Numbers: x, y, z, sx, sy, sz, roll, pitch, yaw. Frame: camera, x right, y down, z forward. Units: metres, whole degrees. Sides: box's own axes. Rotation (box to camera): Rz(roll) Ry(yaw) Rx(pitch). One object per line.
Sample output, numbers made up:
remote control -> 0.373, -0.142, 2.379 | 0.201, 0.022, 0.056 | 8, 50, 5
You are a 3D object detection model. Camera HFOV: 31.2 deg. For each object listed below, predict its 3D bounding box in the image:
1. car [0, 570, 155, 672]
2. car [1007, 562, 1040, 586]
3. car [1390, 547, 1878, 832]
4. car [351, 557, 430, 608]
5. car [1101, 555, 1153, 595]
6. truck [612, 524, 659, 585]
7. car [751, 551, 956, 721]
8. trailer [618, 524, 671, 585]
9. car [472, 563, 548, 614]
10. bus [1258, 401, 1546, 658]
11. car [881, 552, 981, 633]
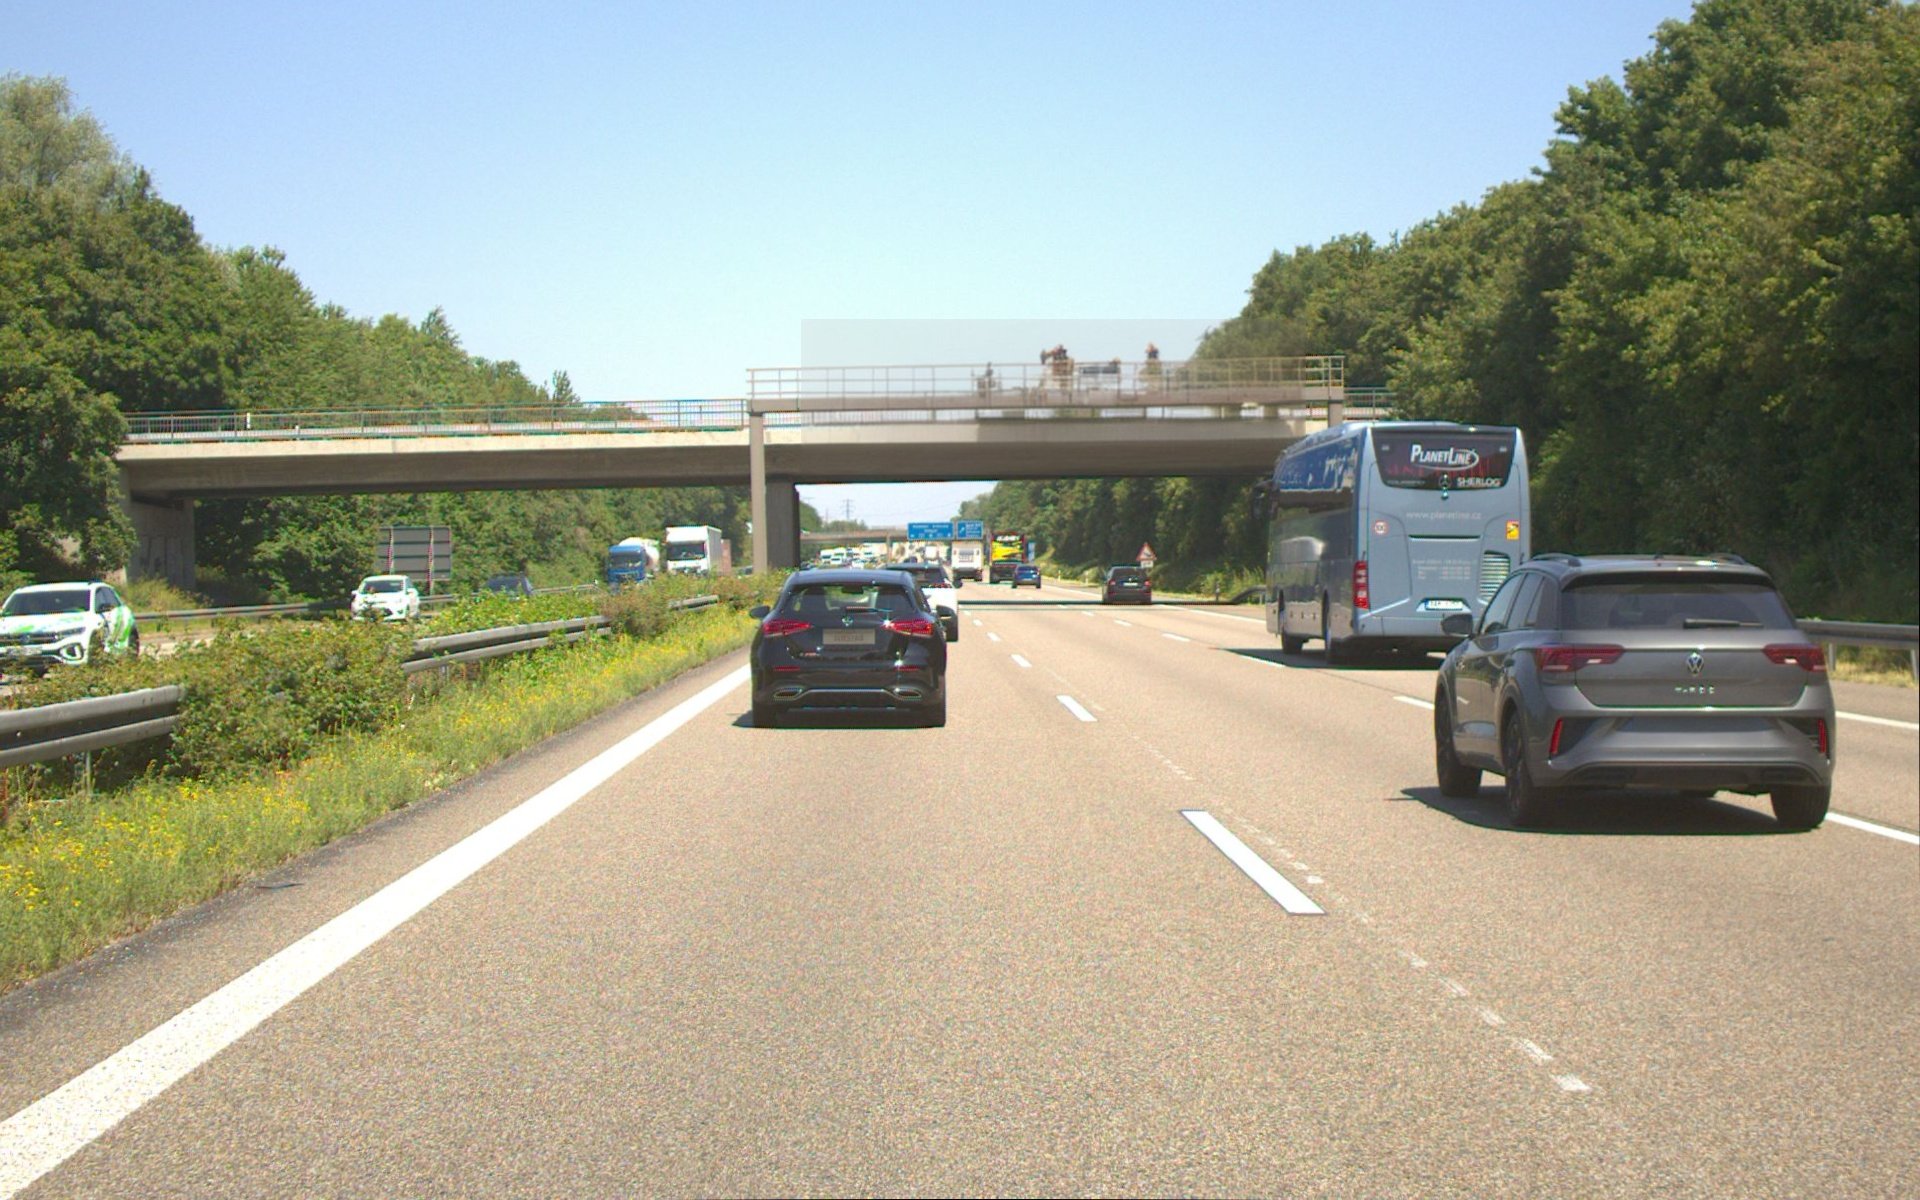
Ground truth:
car -> -14.310, 0.308, 54.983 | 1.807, 1.478, 4.417 | -3, 1, -1
car -> 4.128, -1.685, 222.765 | 2.081, 1.527, 4.241 | 0, 1, 0
car -> 3.922, 0.444, 20.868 | 1.899, 1.527, 4.760 | 0, 1, -2
car -> -18.617, -0.579, 112.569 | 1.899, 1.588, 4.743 | -2, 1, -2
car -> 6.302, -0.958, 129.909 | 1.789, 1.456, 3.949 | 0, 1, 0
truck -> -20.541, -2.893, 217.966 | 2.359, 3.762, 5.252 | -2, 1, -1
car -> -0.999, 0.288, 32.513 | 1.799, 1.497, 4.242 | 0, 1, -2
trailer -> -20.618, -3.004, 225.060 | 2.358, 3.781, 12.075 | -2, 1, -1
car -> -15.008, -0.392, 114.862 | 1.899, 1.527, 5.033 | -4, 1, -2
bus -> 6.704, -1.054, 54.171 | 2.802, 3.584, 12.475 | 0, 1, 0
car -> -0.604, -0.170, 67.866 | 1.899, 1.527, 4.242 | 0, 1, -2
